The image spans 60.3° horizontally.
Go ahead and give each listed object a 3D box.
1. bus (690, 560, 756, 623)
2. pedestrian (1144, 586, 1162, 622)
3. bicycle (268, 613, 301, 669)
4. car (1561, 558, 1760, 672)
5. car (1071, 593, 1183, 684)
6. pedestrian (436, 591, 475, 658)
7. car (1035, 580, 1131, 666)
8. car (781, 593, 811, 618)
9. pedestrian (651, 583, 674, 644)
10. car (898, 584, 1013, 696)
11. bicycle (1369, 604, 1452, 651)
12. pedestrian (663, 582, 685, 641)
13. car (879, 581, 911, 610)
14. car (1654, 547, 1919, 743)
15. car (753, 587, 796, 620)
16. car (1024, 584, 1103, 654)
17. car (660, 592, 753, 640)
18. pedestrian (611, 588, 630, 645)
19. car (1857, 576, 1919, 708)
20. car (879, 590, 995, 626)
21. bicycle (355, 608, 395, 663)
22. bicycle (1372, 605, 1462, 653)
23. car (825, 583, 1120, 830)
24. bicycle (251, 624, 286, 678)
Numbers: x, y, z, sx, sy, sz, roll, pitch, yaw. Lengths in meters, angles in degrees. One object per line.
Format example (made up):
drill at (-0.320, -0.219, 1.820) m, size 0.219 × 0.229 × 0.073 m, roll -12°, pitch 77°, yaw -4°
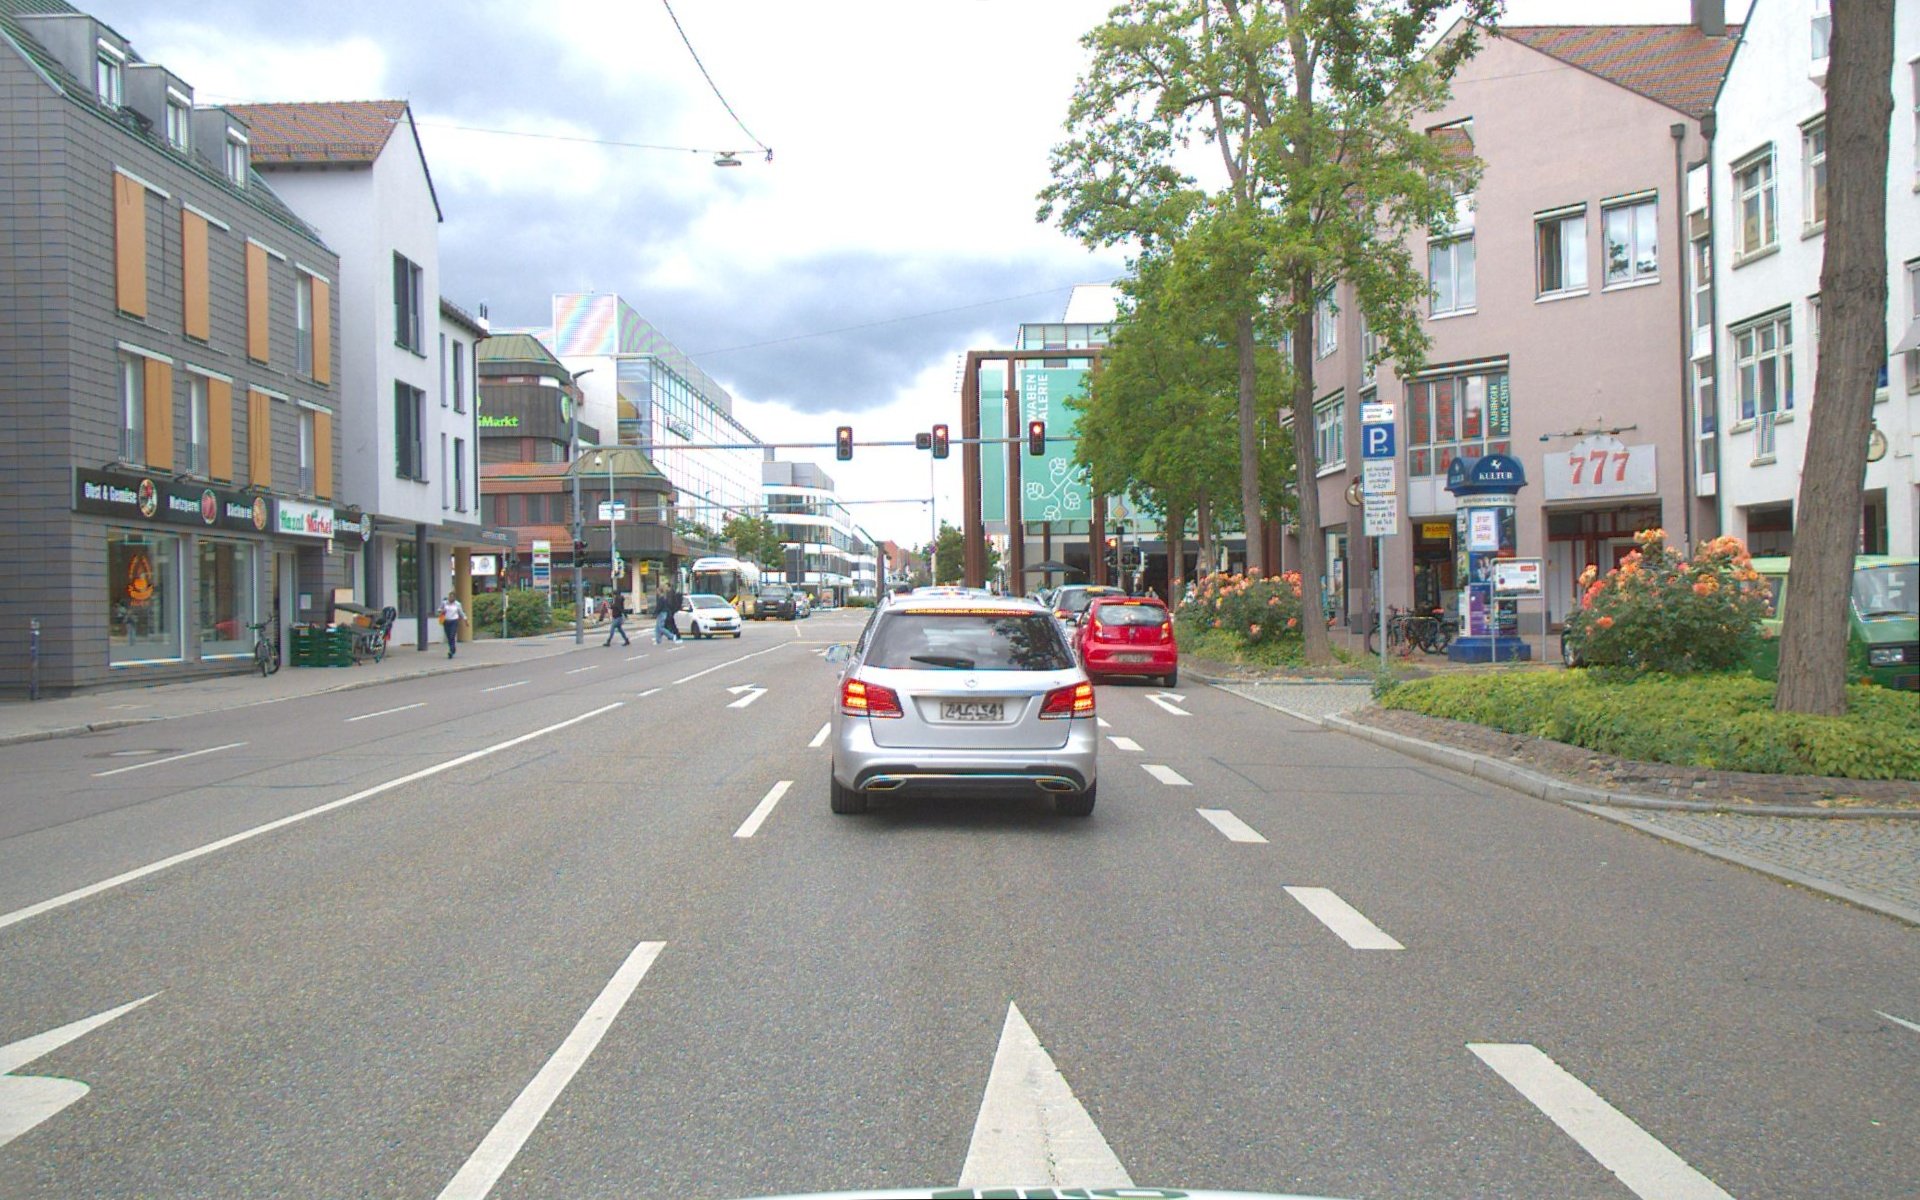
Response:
bus at (-13.056, -0.492, 91.719) m, size 2.632 × 3.318 × 8.650 m, roll 0°, pitch 0°, yaw -2°
pedestrian at (9.031, 0.185, 77.394) m, size 0.641 × 1.679 × 0.557 m, roll -1°, pitch 0°, yaw -15°
bicycle at (-14.436, 0.864, 35.360) m, size 0.379 × 1.147 × 1.287 m, roll -1°, pitch 0°, yaw -10°
car at (12.497, 0.226, 29.761) m, size 1.605 × 1.863 × 3.963 m, roll -2°, pitch 1°, yaw -5°
car at (2.831, 0.621, 28.670) m, size 1.554 × 1.468 × 3.348 m, roll 1°, pitch 0°, yaw -1°
pedestrian at (-12.427, 0.591, 40.728) m, size 0.713 × 1.638 × 0.753 m, roll -1°, pitch 0°, yaw -1°
car at (2.529, 0.449, 34.756) m, size 1.555 × 1.662 × 3.915 m, roll 1°, pitch 0°, yaw -2°
car at (-9.569, 0.300, 96.588) m, size 1.524 × 1.417 × 3.287 m, roll -1°, pitch 0°, yaw -2°
pedestrian at (-8.924, 0.400, 49.611) m, size 0.635 × 1.821 × 0.682 m, roll -1°, pitch 0°, yaw -12°
car at (-0.080, 0.555, 24.986) m, size 1.606 × 1.554 × 3.393 m, roll 0°, pitch 0°, yaw -1°
bicycle at (10.145, 0.616, 37.254) m, size 1.731 × 1.014 × 0.447 m, roll -1°, pitch 0°, yaw 3°
pedestrian at (-8.777, 0.344, 50.813) m, size 0.633 × 1.806 × 0.569 m, roll -1°, pitch 0°, yaw -12°
car at (-4.459, -0.328, 114.233) m, size 1.952 × 1.983 × 4.951 m, roll 0°, pitch 0°, yaw 0°
car at (9.809, 0.409, 18.631) m, size 1.843 × 1.909 × 4.603 m, roll -2°, pitch 0°, yaw -2°
car at (-9.942, 0.182, 89.089) m, size 1.953 × 1.735 × 4.063 m, roll -1°, pitch 0°, yaw -2°
car at (2.523, 0.441, 41.096) m, size 1.555 × 1.623 × 3.866 m, roll 1°, pitch 0°, yaw -2°
car at (-8.522, 0.547, 55.467) m, size 1.564 × 1.514 × 3.414 m, roll -2°, pitch 0°, yaw -39°
pedestrian at (-10.134, 0.488, 49.380) m, size 0.547 × 1.679 × 0.652 m, roll -1°, pitch 0°, yaw -12°
car at (12.411, 0.486, 18.903) m, size 1.760 × 1.569 × 4.392 m, roll -2°, pitch 0°, yaw -2°
car at (-0.910, 0.320, 67.131) m, size 4.618 × 1.393 × 1.964 m, roll -1°, pitch 0°, yaw 0°
bicycle at (-13.504, 0.799, 38.214) m, size 0.378 × 1.207 × 1.825 m, roll -1°, pitch 0°, yaw -4°
bicycle at (10.142, 0.642, 36.707) m, size 1.861 × 1.014 × 0.468 m, roll -1°, pitch 0°, yaw 3°
car at (0.066, 0.650, 12.305) m, size 1.778 × 1.474 × 4.369 m, roll 1°, pitch 0°, yaw 0°
bicycle at (-13.104, 0.963, 31.364) m, size 0.320 × 0.970 × 1.479 m, roll -1°, pitch 0°, yaw -11°
